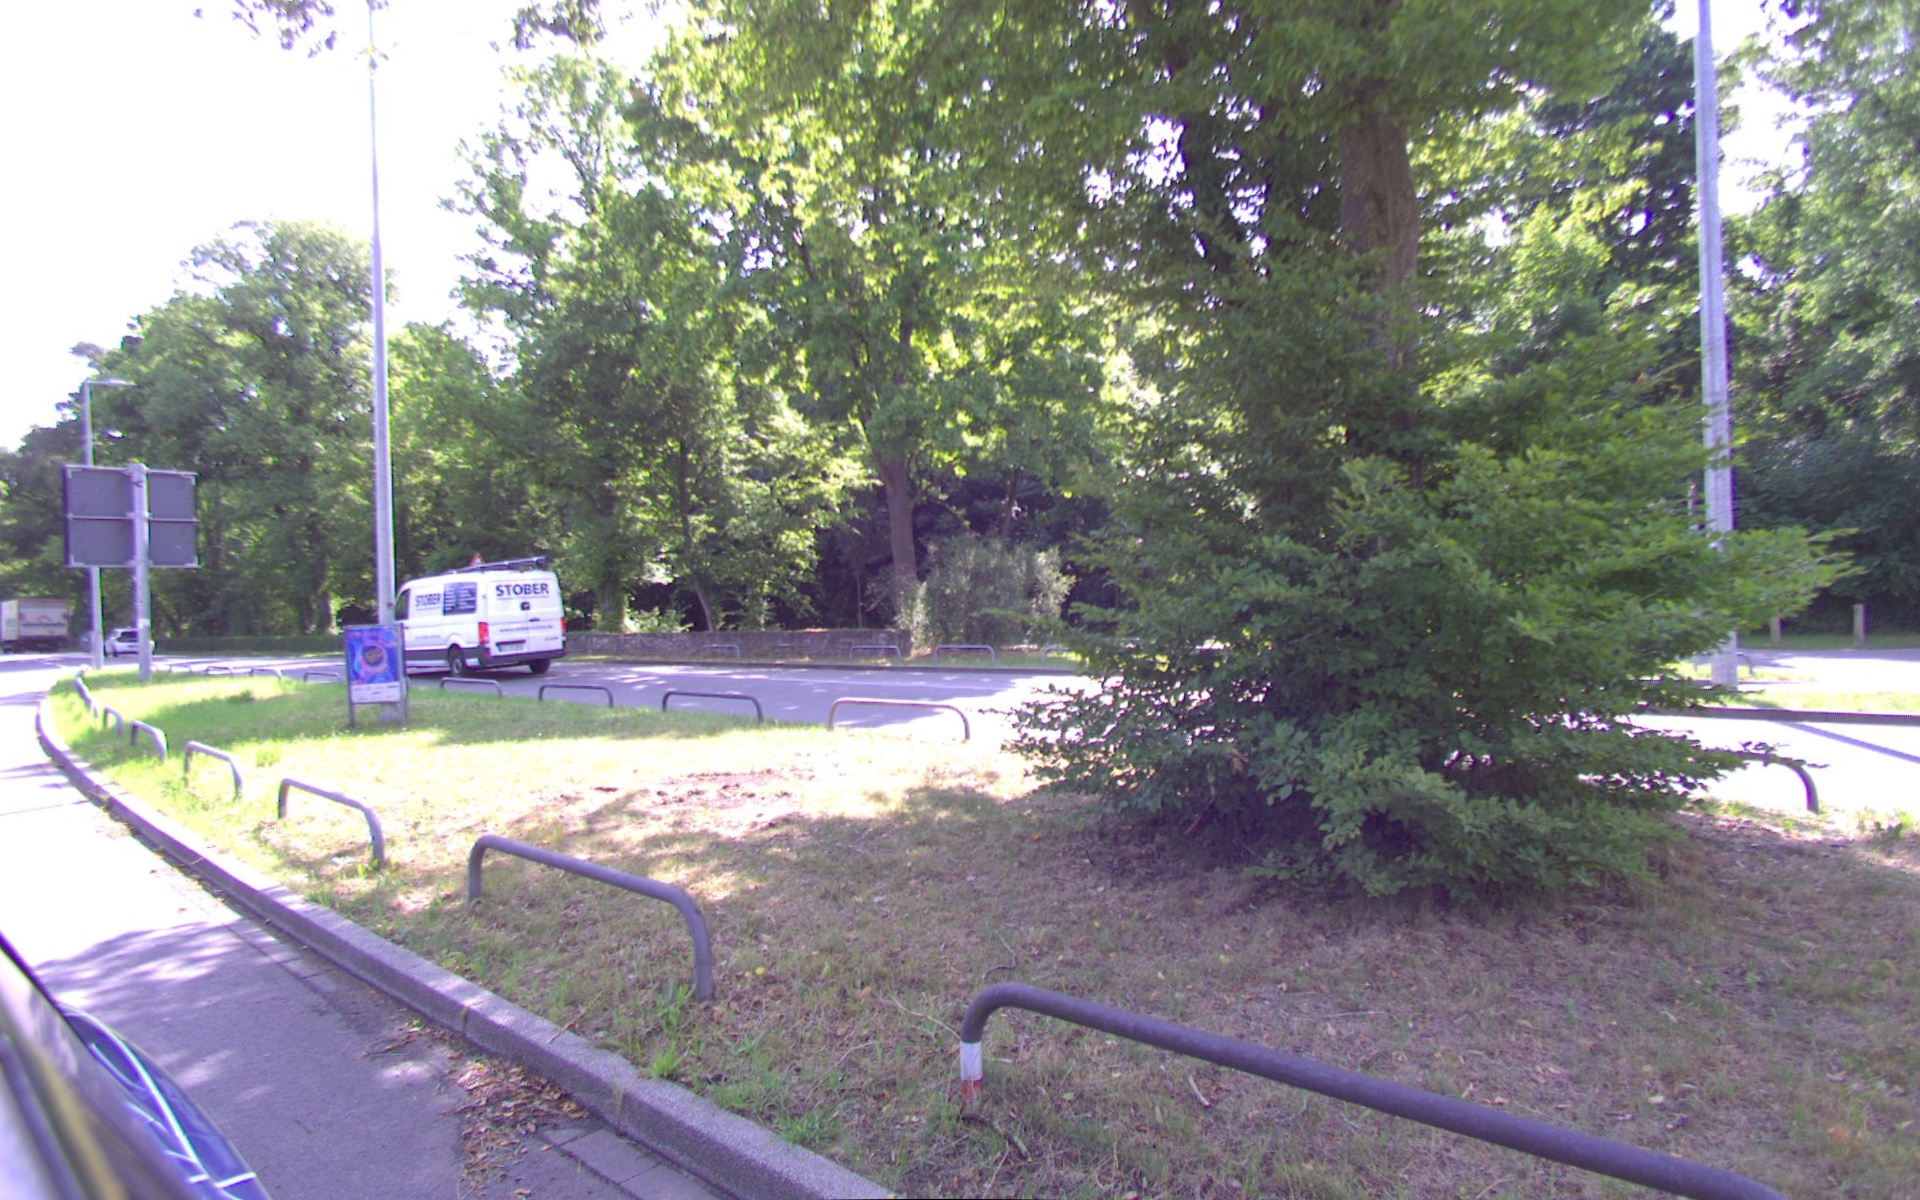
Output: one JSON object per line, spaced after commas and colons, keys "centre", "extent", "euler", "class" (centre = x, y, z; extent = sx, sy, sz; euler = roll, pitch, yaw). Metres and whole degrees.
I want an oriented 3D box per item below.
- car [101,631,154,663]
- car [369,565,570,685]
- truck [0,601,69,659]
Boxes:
{"centre": [-43.217, 2.400, 52.523], "extent": [3.872, 1.481, 1.633], "euler": [-1, 0, 43], "class": "car"}
{"centre": [-11.355, 0.522, 23.233], "extent": [5.356, 2.449, 1.956], "euler": [-1, 1, 38], "class": "car"}
{"centre": [-62.108, 1.918, 67.690], "extent": [7.002, 3.657, 2.877], "euler": [-1, 0, 41], "class": "truck"}
